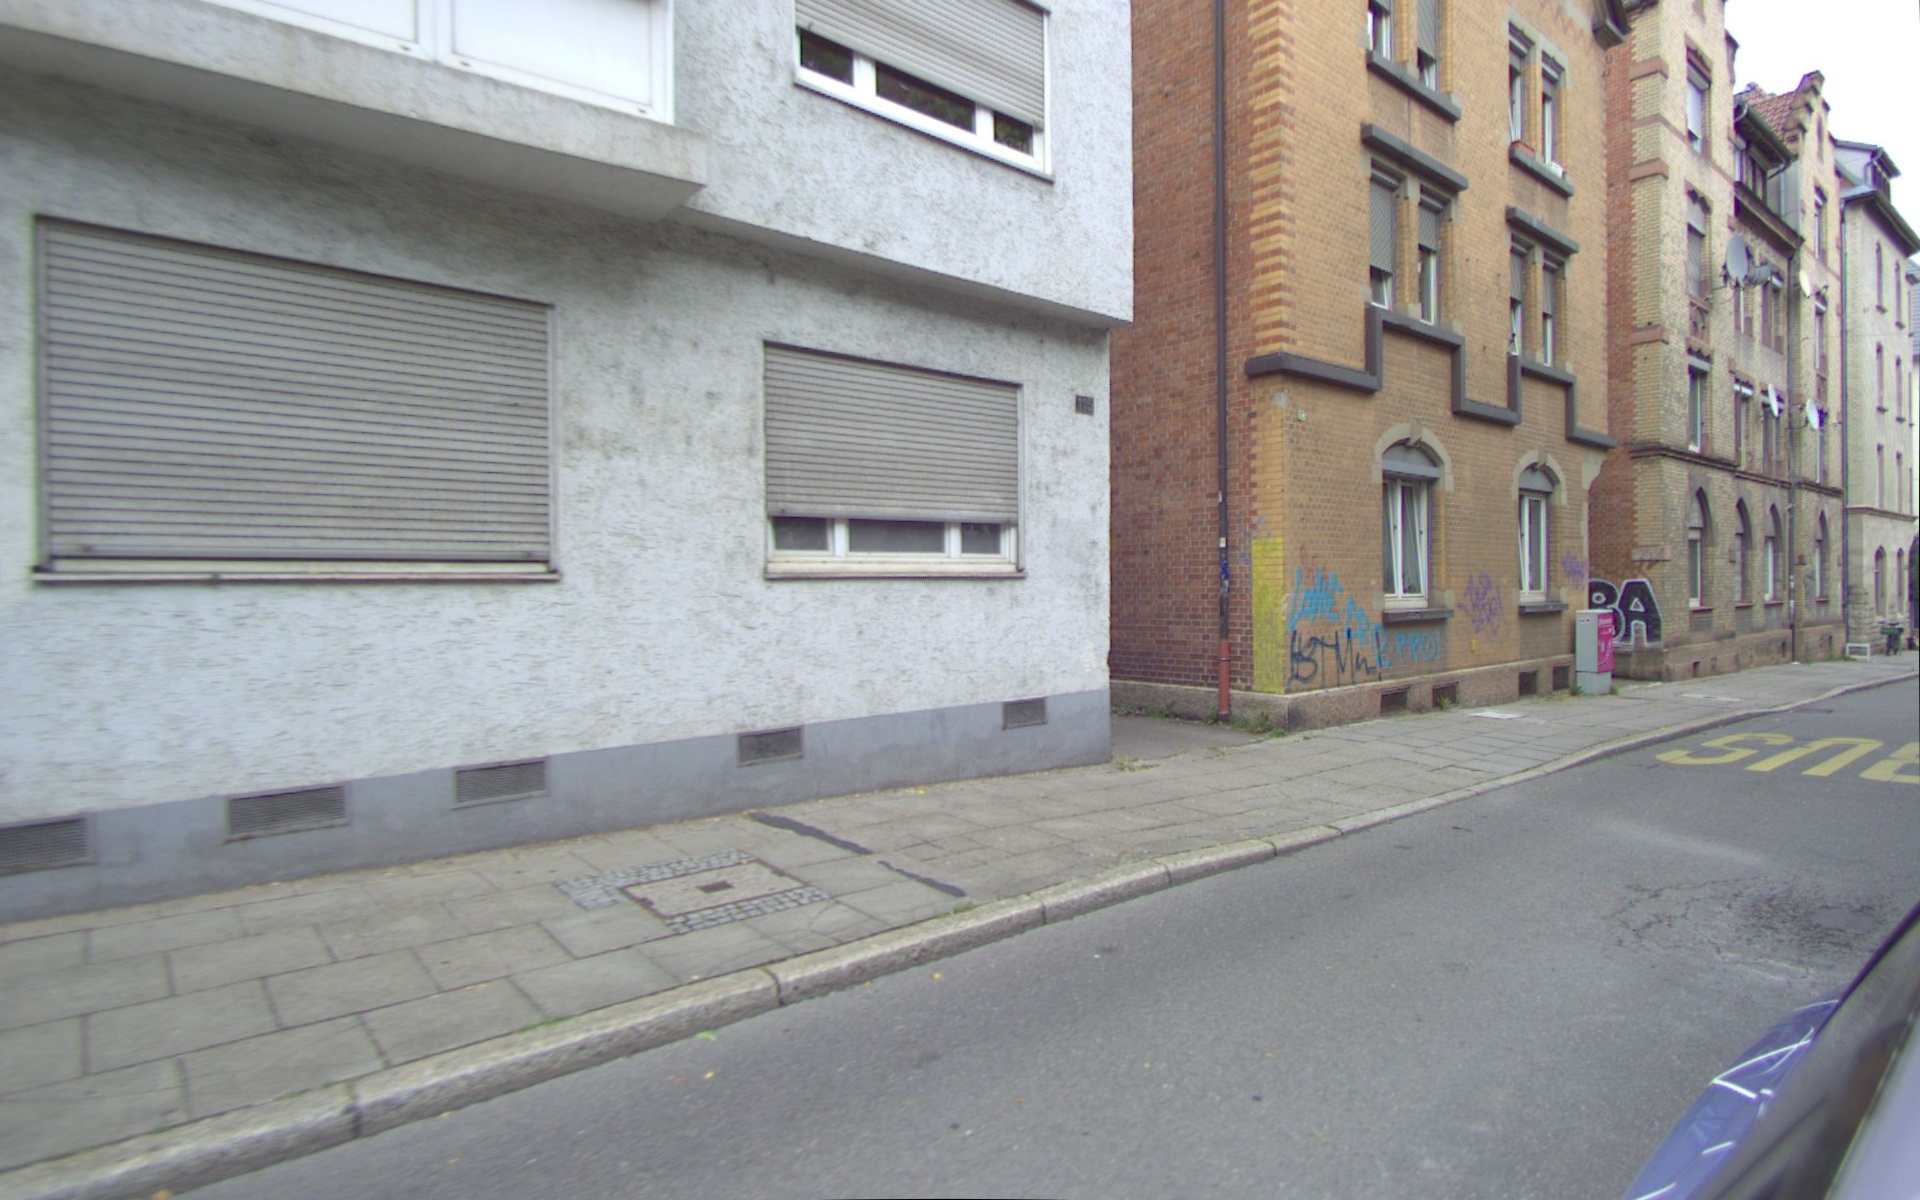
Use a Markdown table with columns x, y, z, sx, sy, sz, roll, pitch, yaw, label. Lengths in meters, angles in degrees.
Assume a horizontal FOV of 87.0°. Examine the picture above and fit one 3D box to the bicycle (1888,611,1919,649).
| x | y | z | sx | sy | sz | roll | pitch | yaw | label |
| --- | --- | --- | --- | --- | --- | --- | --- | --- | --- |
| 30.765 | 0.954 | 32.744 | 2.437 | 1.164 | 0.683 | 0 | 0 | -38 | bicycle |
